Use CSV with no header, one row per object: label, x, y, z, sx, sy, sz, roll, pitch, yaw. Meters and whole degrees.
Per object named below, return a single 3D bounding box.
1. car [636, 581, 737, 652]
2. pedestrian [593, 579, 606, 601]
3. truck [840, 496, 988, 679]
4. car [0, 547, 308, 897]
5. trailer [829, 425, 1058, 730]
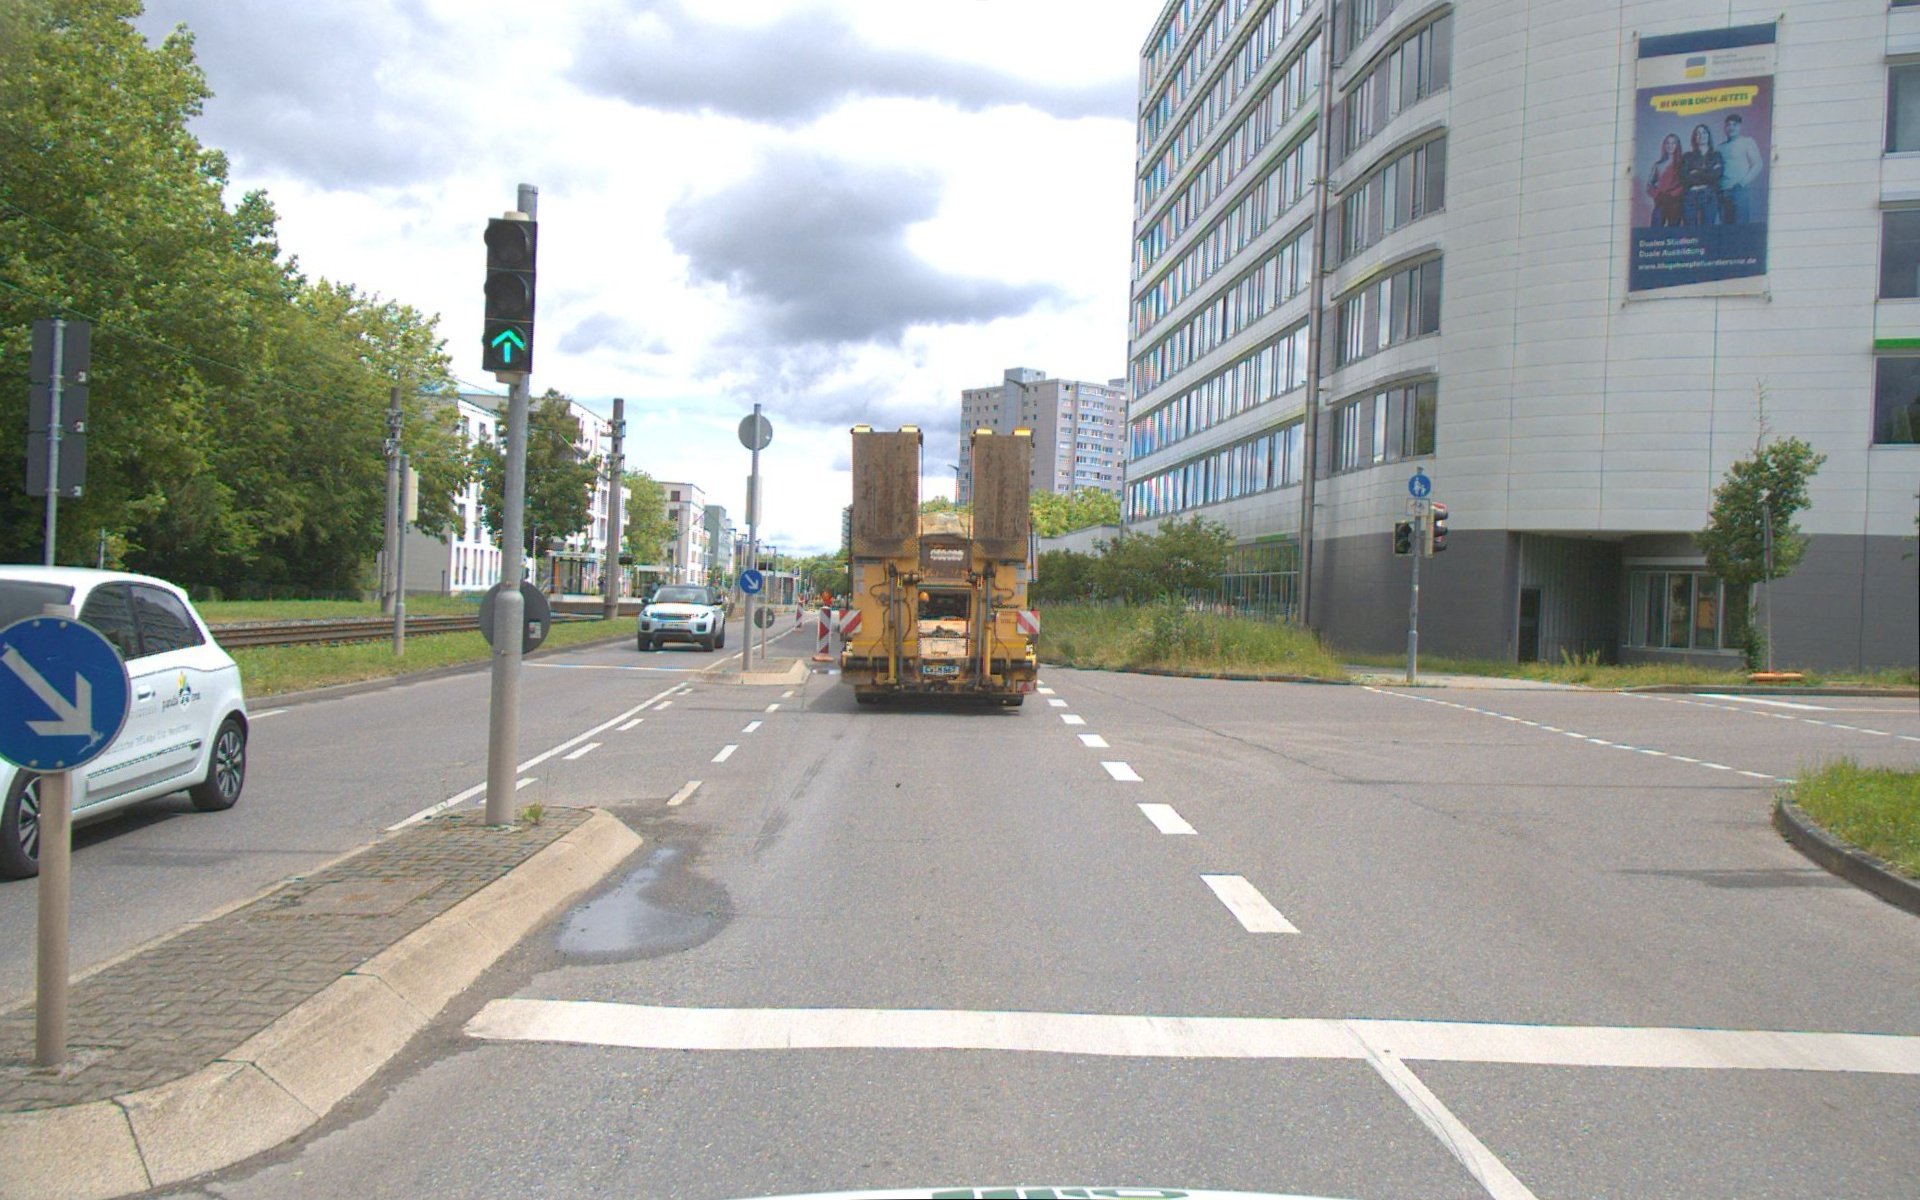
car,-6.928,0.420,42.288,1.822,1.638,4.606,2,-1,-1
pedestrian,-25.357,-0.698,116.357,0.726,1.558,0.547,2,-1,0
truck,-1.087,-0.207,35.667,2.699,3.371,8.346,2,-1,-3
car,-5.442,0.550,9.714,1.694,1.640,4.260,2,-1,-4
trailer,-0.531,-0.234,25.878,2.675,3.621,11.245,2,-1,-3
